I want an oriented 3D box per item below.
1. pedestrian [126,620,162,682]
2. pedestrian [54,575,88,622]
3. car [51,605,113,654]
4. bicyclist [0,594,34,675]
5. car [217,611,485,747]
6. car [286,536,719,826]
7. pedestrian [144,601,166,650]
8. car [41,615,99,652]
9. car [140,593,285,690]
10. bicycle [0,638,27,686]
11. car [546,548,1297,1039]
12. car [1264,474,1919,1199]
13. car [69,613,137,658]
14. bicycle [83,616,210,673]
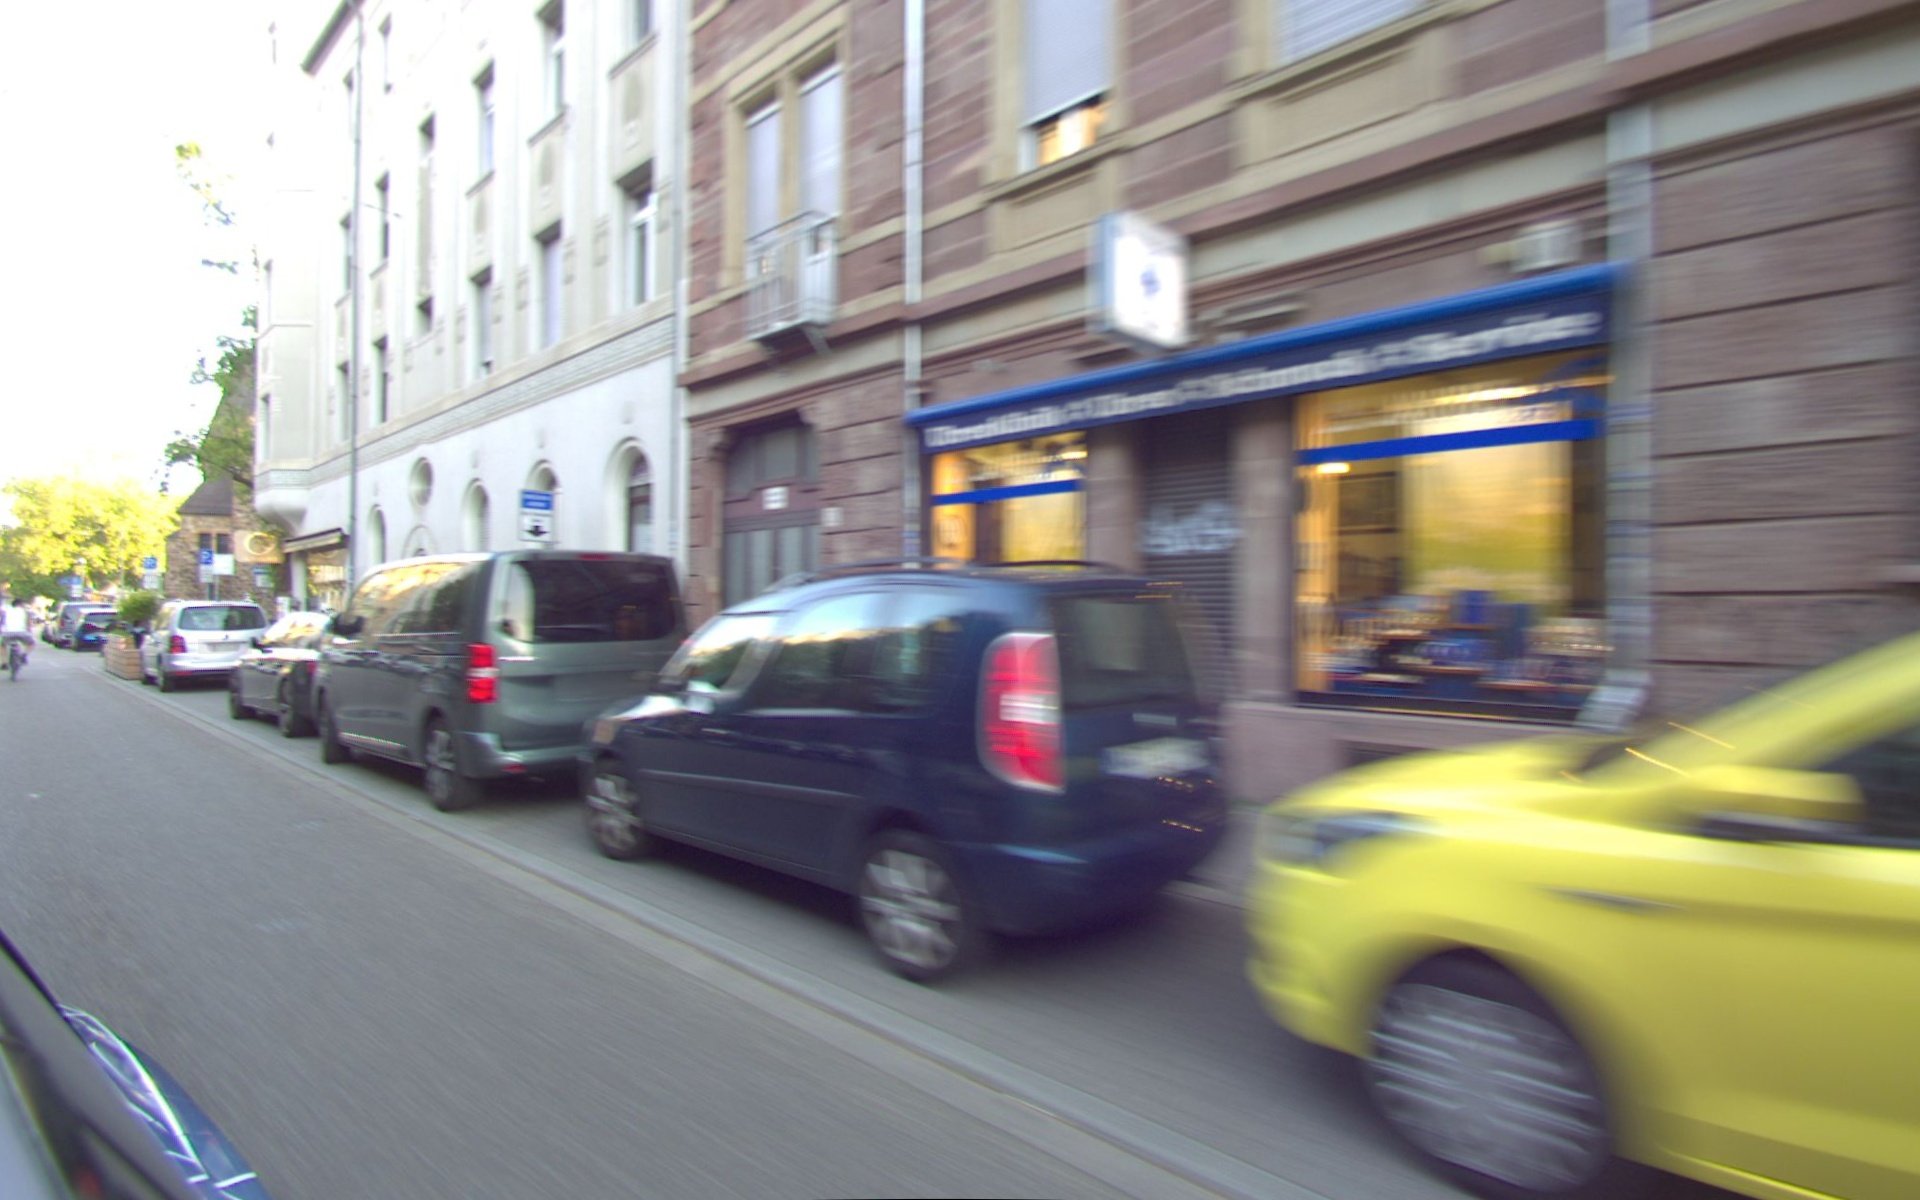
[{"bbox_3d":[-18.134,1.126,22.494,0.496,1.332,0.563,0,0,44],"label":"pedestrian"},{"bbox_3d":[-53.059,-0.101,60.381,1.012,2.761,1.425,0,0,44],"label":"pedestrian"},{"bbox_3d":[-36.018,1.153,41.472,1.760,1.885,4.462,-1,0,-43],"label":"car"},{"bbox_3d":[-20.454,0.729,21.844,1.004,1.705,0.615,0,0,44],"label":"bicyclist"},{"bbox_3d":[-7.910,0.872,12.960,4.483,1.441,1.905,-1,-1,45],"label":"car"},{"bbox_3d":[-4.301,0.567,9.032,4.907,1.897,1.905,-1,-1,45],"label":"car"},{"bbox_3d":[-29.370,0.915,36.921,0.563,1.746,0.558,0,0,44],"label":"pedestrian"},{"bbox_3d":[-41.122,1.501,46.733,4.002,1.558,1.761,0,0,45],"label":"car"},{"bbox_3d":[-14.374,0.729,19.372,1.706,1.660,3.919,-1,0,-44],"label":"car"},{"bbox_3d":[-20.580,1.329,21.908,1.897,0.951,0.470,0,0,45],"label":"bicycle"},{"bbox_3d":[-0.507,0.666,5.435,1.904,1.608,3.973,1,-1,-43],"label":"car"},{"bbox_3d":[2.736,0.543,1.944,1.685,1.541,3.796,1,-1,-43],"label":"car"},{"bbox_3d":[-32.322,1.301,38.117,1.760,1.558,4.004,-1,0,-43],"label":"car"},{"bbox_3d":[-21.585,1.163,26.925,2.579,1.409,0.603,-1,0,-32],"label":"bicycle"}]
